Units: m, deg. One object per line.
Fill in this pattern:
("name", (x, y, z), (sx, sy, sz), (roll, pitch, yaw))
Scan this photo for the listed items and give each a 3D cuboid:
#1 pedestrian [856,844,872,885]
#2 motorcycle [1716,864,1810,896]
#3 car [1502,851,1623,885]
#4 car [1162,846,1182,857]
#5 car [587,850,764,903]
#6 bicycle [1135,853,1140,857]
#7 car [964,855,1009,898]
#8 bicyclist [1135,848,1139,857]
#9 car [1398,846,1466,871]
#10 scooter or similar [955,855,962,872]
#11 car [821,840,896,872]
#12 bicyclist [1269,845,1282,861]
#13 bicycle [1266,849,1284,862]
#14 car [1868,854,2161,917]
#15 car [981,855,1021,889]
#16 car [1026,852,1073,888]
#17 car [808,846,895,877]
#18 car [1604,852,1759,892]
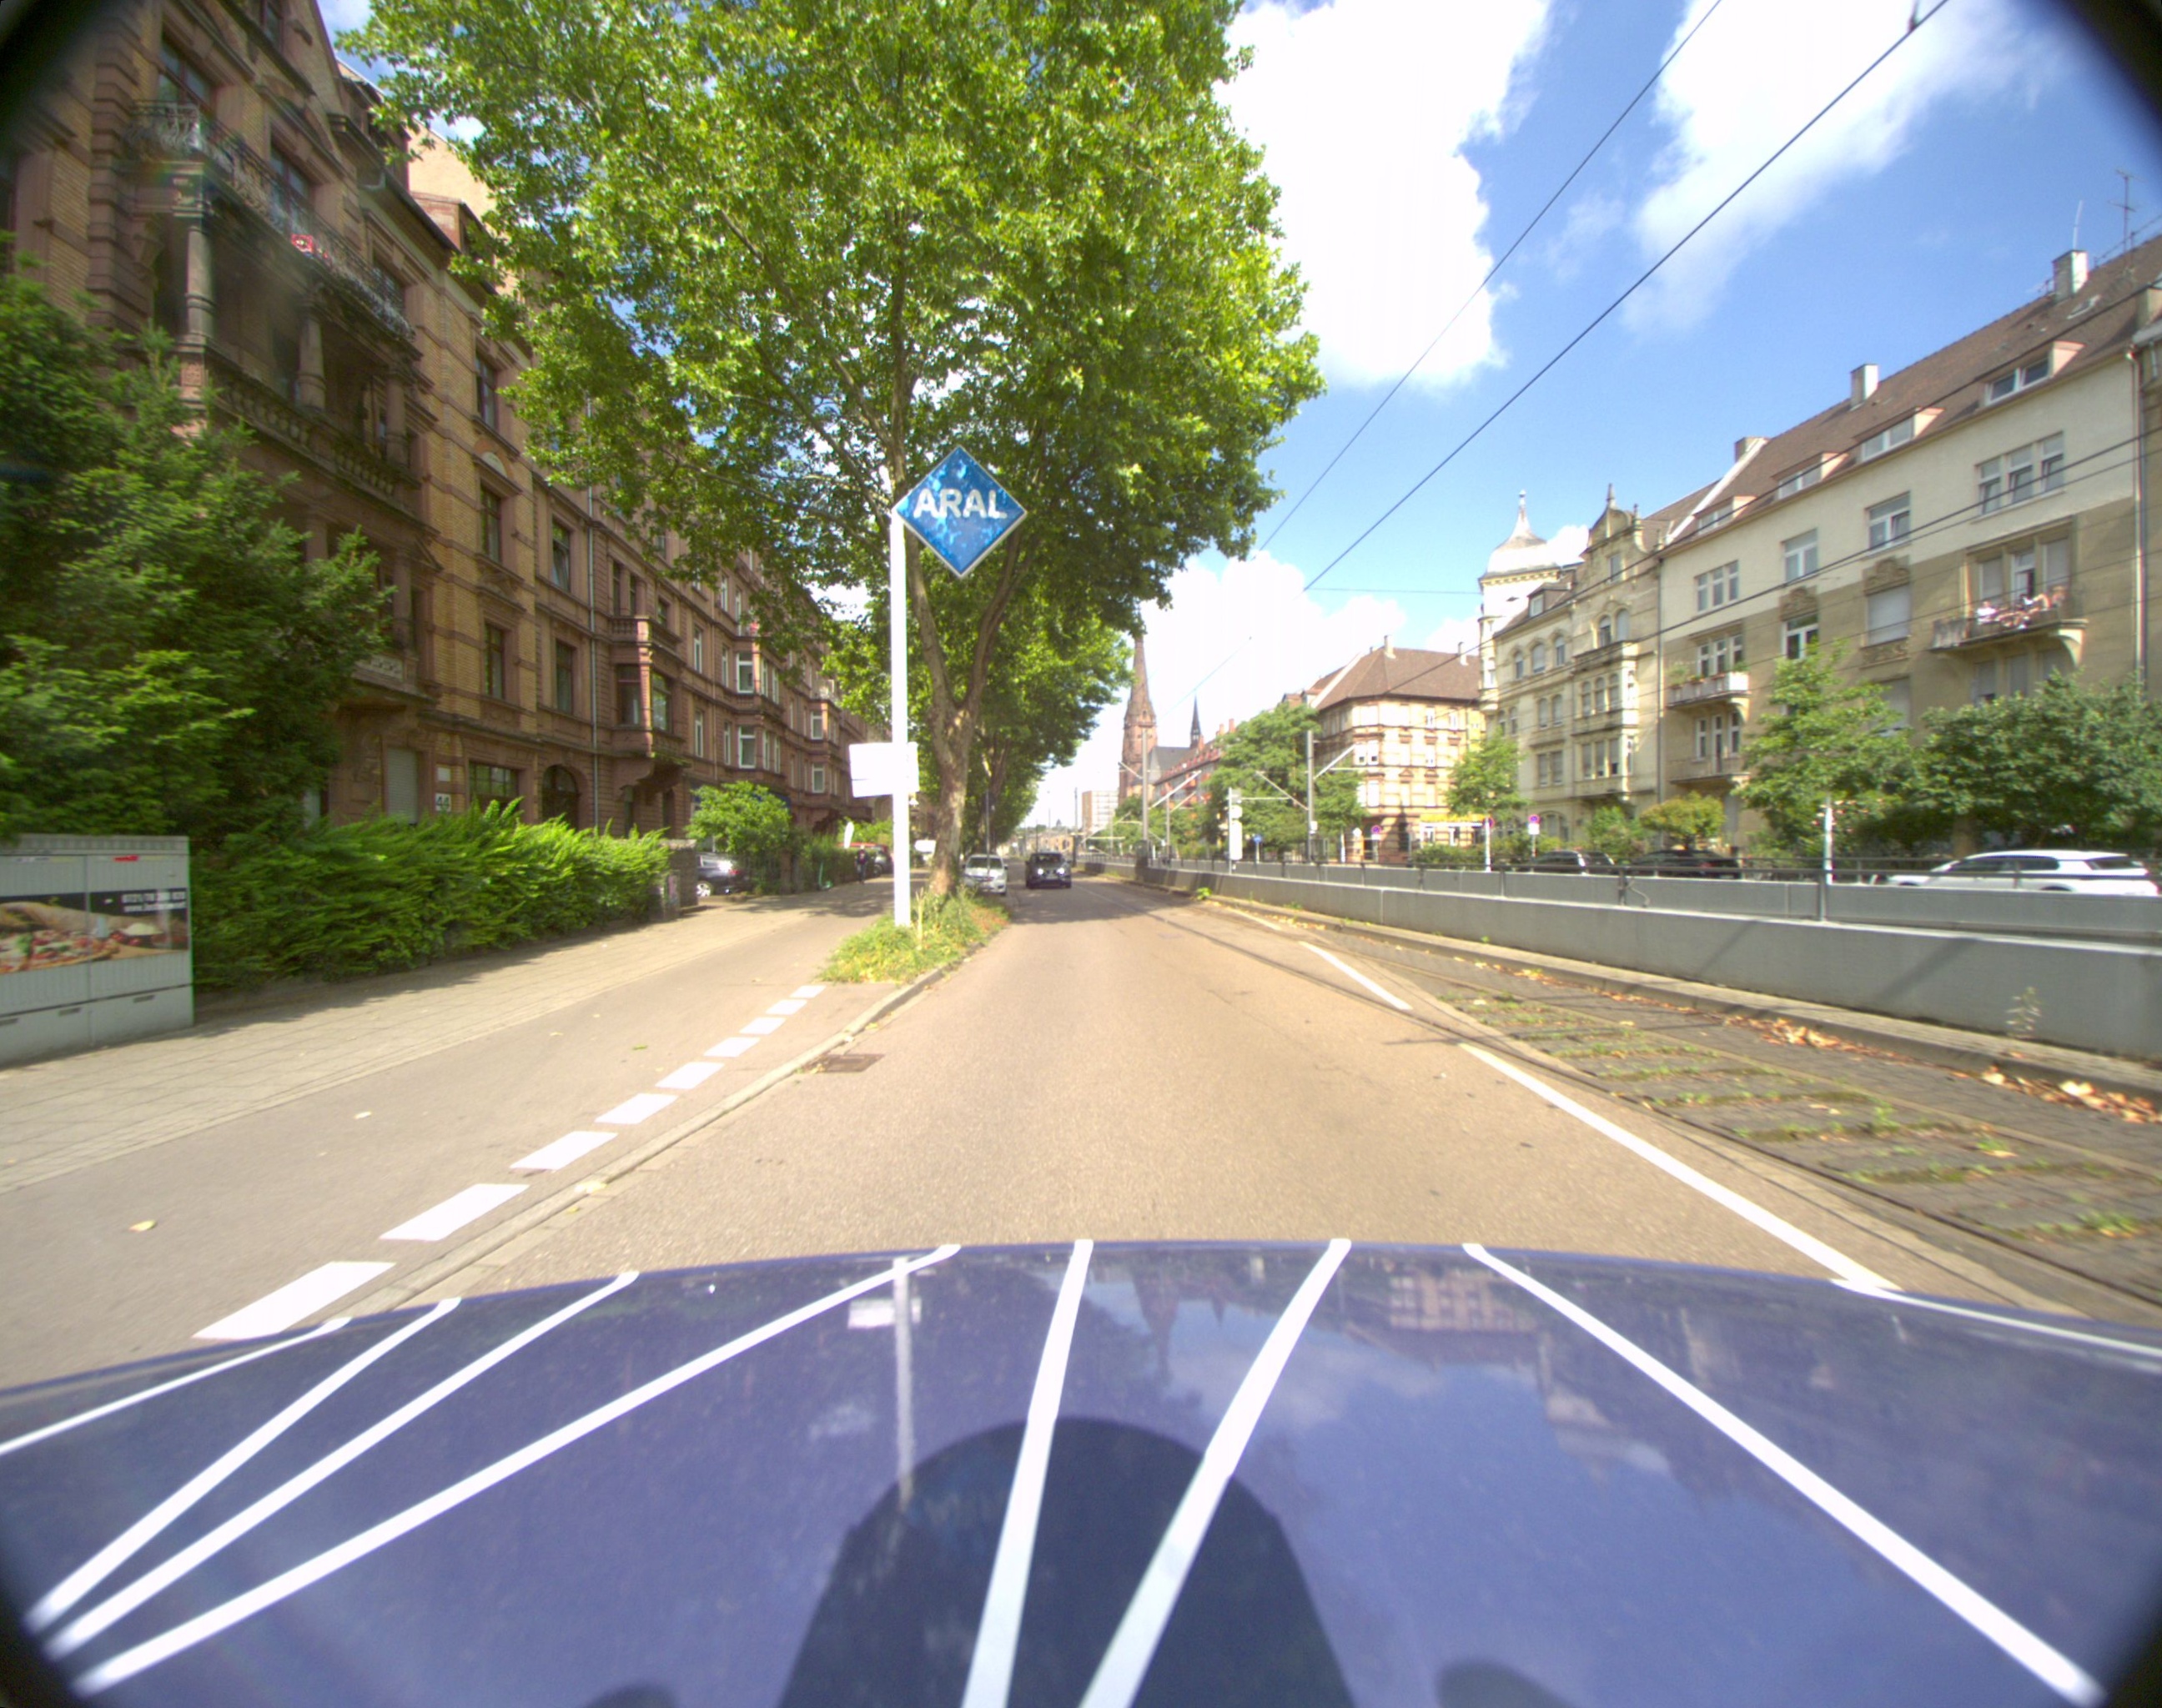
("pedestrian", (-9.644, 0.469, 33.750), (0.566, 1.776, 0.630), (-1, 1, -6))
("motorcycle", (21.758, 0.807, 24.277), (1.766, 0.936, 1.417), (1, 0, -7))
("car", (20.619, 0.550, 32.807), (1.954, 1.319, 4.723), (-1, 0, -5))
("car", (12.915, -0.353, 107.838), (2.000, 1.628, 4.111), (0, 0, -6))
("car", (-12.004, 0.657, 22.731), (4.247, 1.461, 1.940), (1, 1, -6))
("bicycle", (9.047, 0.148, 122.511), (0.497, 0.764, 1.815), (0, 1, -6))
("car", (-3.496, 0.770, 28.322), (1.558, 1.477, 3.856), (0, 0, -6))
("bicyclist", (9.082, -0.237, 122.392), (0.505, 1.535, 0.607), (0, 1, -7))
("car", (24.443, 0.311, 52.948), (3.964, 1.597, 2.034), (-1, 1, -15))
("scooter or similar", (-8.895, 0.701, 55.144), (0.468, 1.204, 1.322), (-1, 0, -6))
("car", (-14.550, 0.121, 49.899), (4.410, 1.927, 1.982), (2, 0, -6))
("bicyclist", (15.966, -0.092, 62.382), (0.770, 1.330, 1.048), (1, 0, -5))
("bicycle", (15.954, 0.113, 62.525), (0.778, 0.973, 2.139), (1, 0, -5))
("car", (22.371, 0.664, 18.452), (1.757, 1.320, 4.309), (0, 0, -8))
("car", (-3.670, 0.778, 34.845), (1.683, 1.435, 3.856), (0, 1, -6))
("car", (-1.458, 0.653, 33.490), (1.800, 1.454, 4.565), (-1, 0, -5))
("car", (-13.316, 0.446, 44.328), (4.738, 1.772, 2.003), (0, 0, -14))
("car", (21.368, 0.587, 27.263), (2.026, 1.319, 4.097), (-1, 0, -8))
